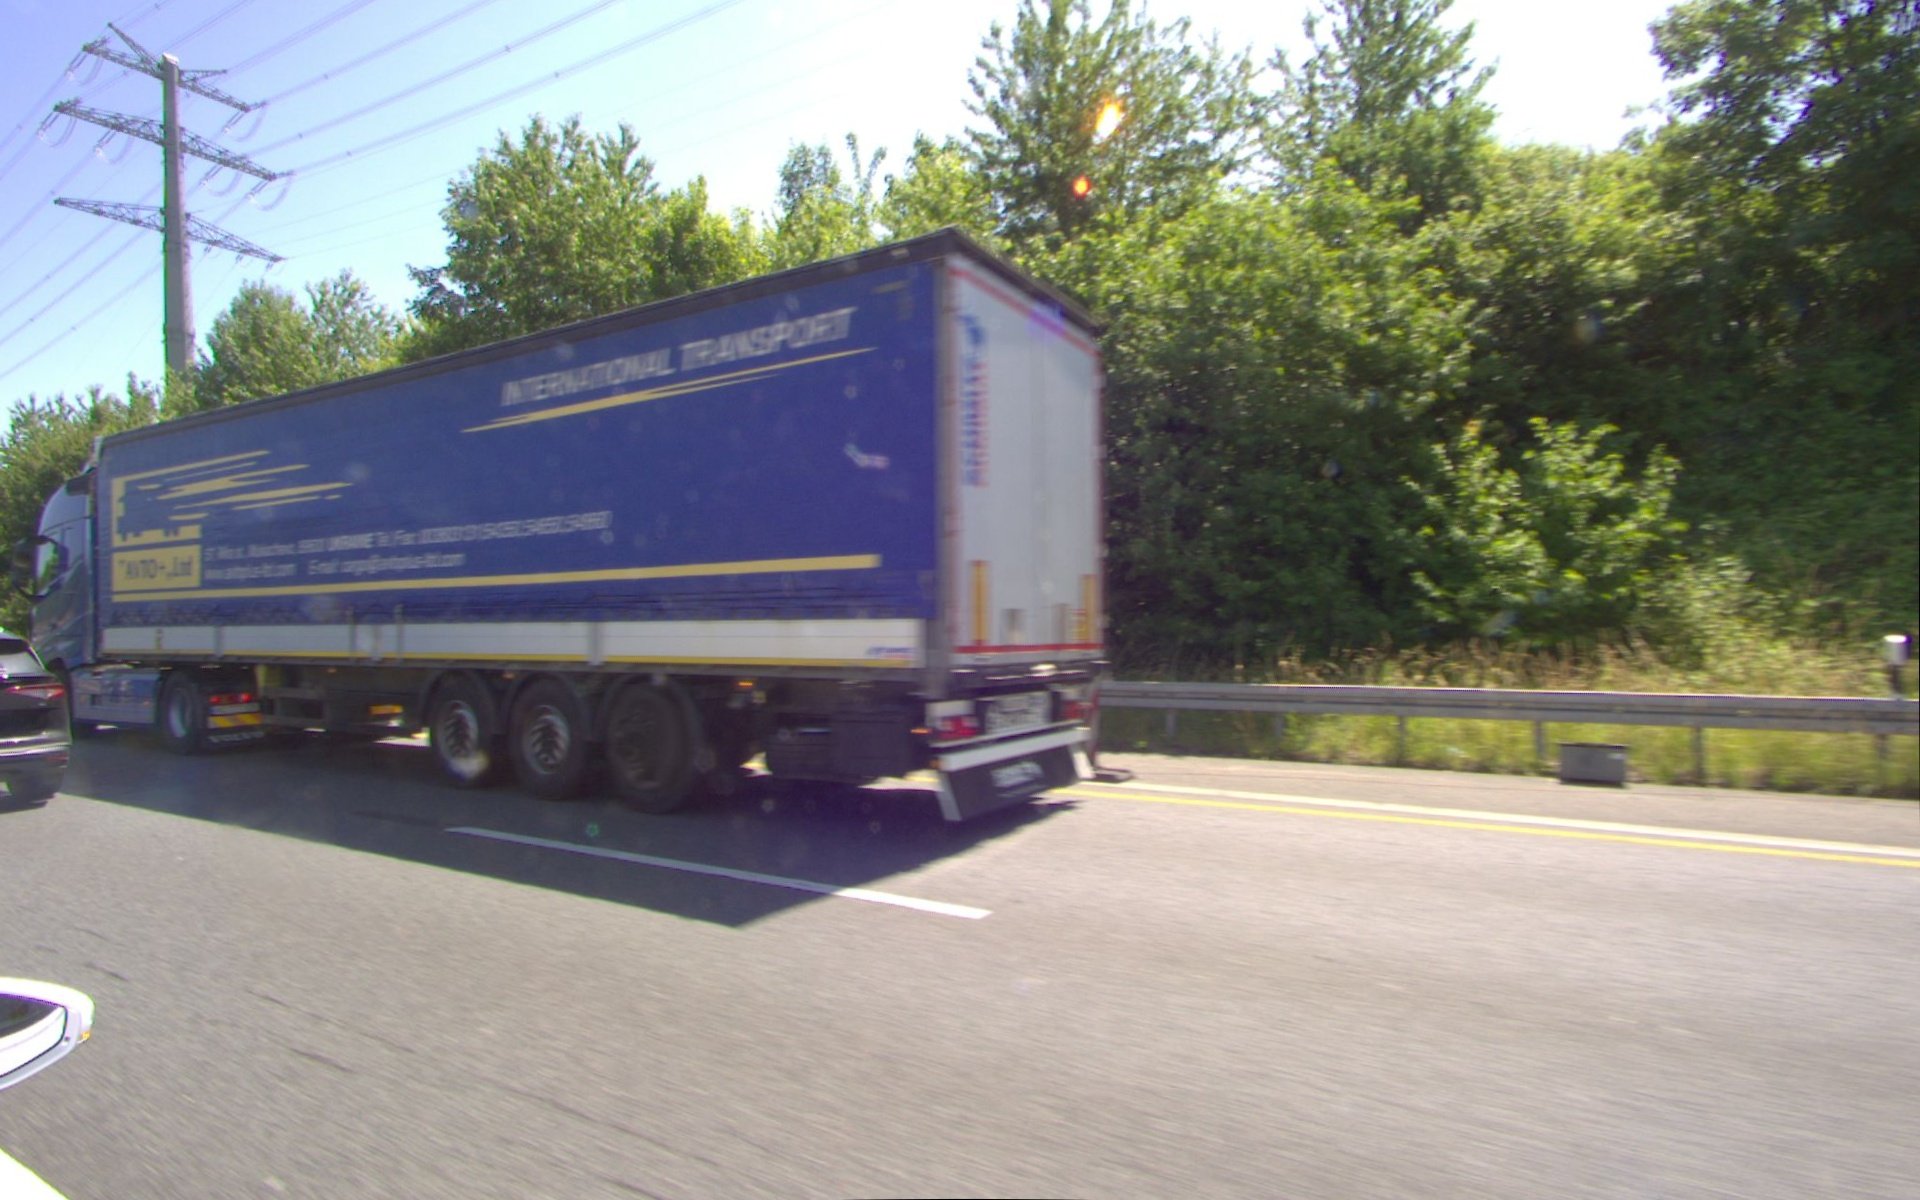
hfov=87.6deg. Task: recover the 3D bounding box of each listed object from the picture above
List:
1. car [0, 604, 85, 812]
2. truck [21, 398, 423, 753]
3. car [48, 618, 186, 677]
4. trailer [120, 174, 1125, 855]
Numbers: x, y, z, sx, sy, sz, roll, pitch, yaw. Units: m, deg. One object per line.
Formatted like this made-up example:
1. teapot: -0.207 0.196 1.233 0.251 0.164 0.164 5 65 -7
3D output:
1. car: -9.794 0.902 8.922 4.364 1.676 1.699 -1 -2 30
2. truck: -10.732 -0.196 14.505 5.555 4.197 2.781 -1 -2 31
3. car: -25.551 1.423 30.322 4.295 1.692 1.873 -1 -2 30
4. trailer: -4.693 -0.384 10.823 12.691 4.318 2.763 -1 -2 31
